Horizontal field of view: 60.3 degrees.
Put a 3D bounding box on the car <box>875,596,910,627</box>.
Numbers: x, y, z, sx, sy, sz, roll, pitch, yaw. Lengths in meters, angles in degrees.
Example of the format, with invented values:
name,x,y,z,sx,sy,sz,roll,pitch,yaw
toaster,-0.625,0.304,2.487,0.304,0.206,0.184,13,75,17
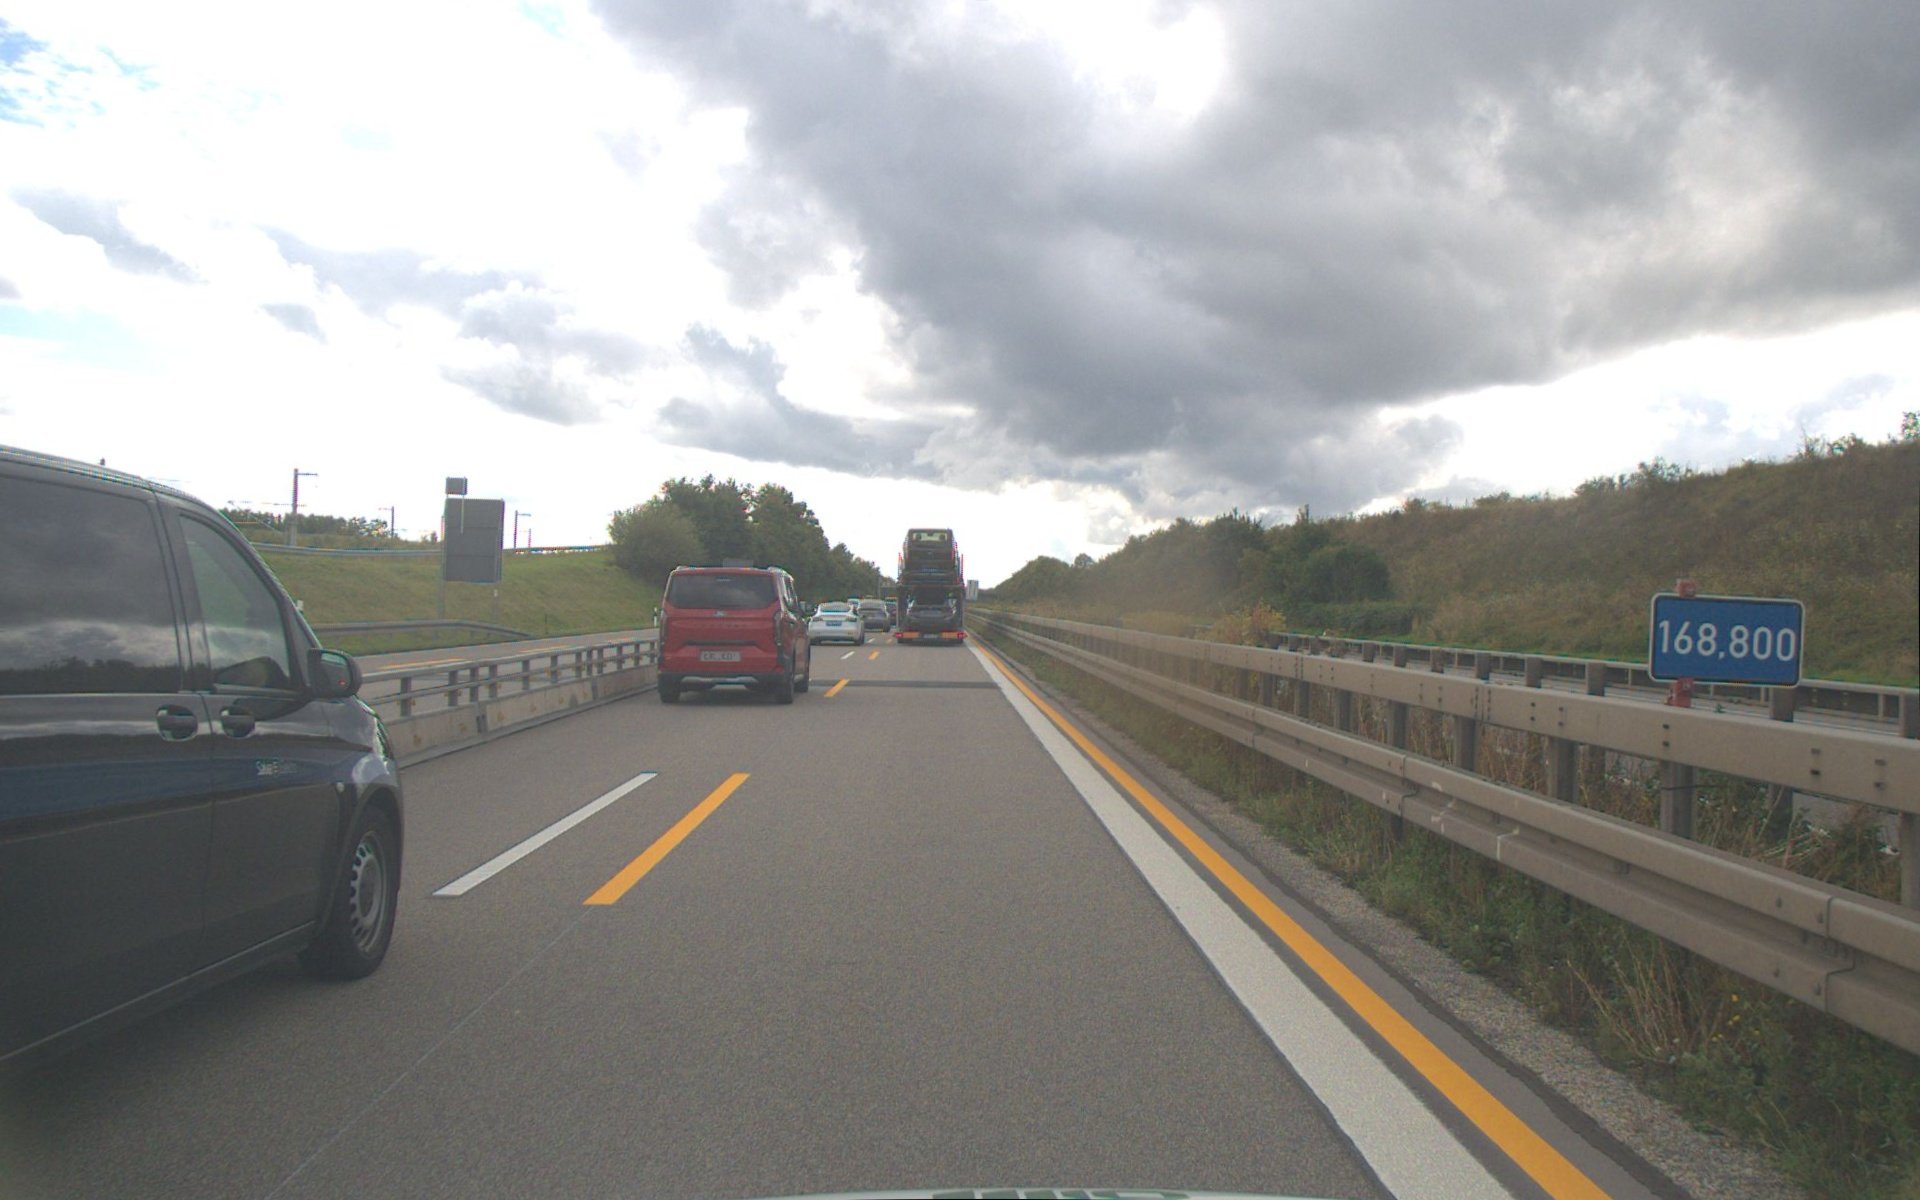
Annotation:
name,x,y,z,sx,sy,sz,roll,pitch,yaw
car,-3.980,0.671,98.104,1.990,1.788,4.576,0,0,-2

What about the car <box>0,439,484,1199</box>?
name,x,y,z,sx,sy,sz,roll,pitch,yaw
car,-3.176,0.572,4.929,1.953,1.875,5.608,0,0,-1

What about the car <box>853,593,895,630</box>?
name,x,y,z,sx,sy,sz,roll,pitch,yaw
car,-4.368,0.572,84.232,1.990,1.788,4.576,0,0,-1

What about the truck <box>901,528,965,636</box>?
name,x,y,z,sx,sy,sz,roll,pitch,yaw
truck,-1.049,-0.706,67.544,2.464,4.177,5.684,1,0,0

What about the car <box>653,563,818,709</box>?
name,x,y,z,sx,sy,sz,roll,pitch,yaw
car,-3.357,0.504,25.579,1.990,2.049,4.577,0,0,-1

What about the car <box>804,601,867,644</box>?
name,x,y,z,sx,sy,sz,roll,pitch,yaw
car,-4.357,0.753,58.447,1.990,1.456,4.576,0,0,-1

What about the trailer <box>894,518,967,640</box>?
name,x,y,z,sx,sy,sz,roll,pitch,yaw
trailer,-1.031,-0.717,62.700,2.464,4.177,11.112,1,0,0
